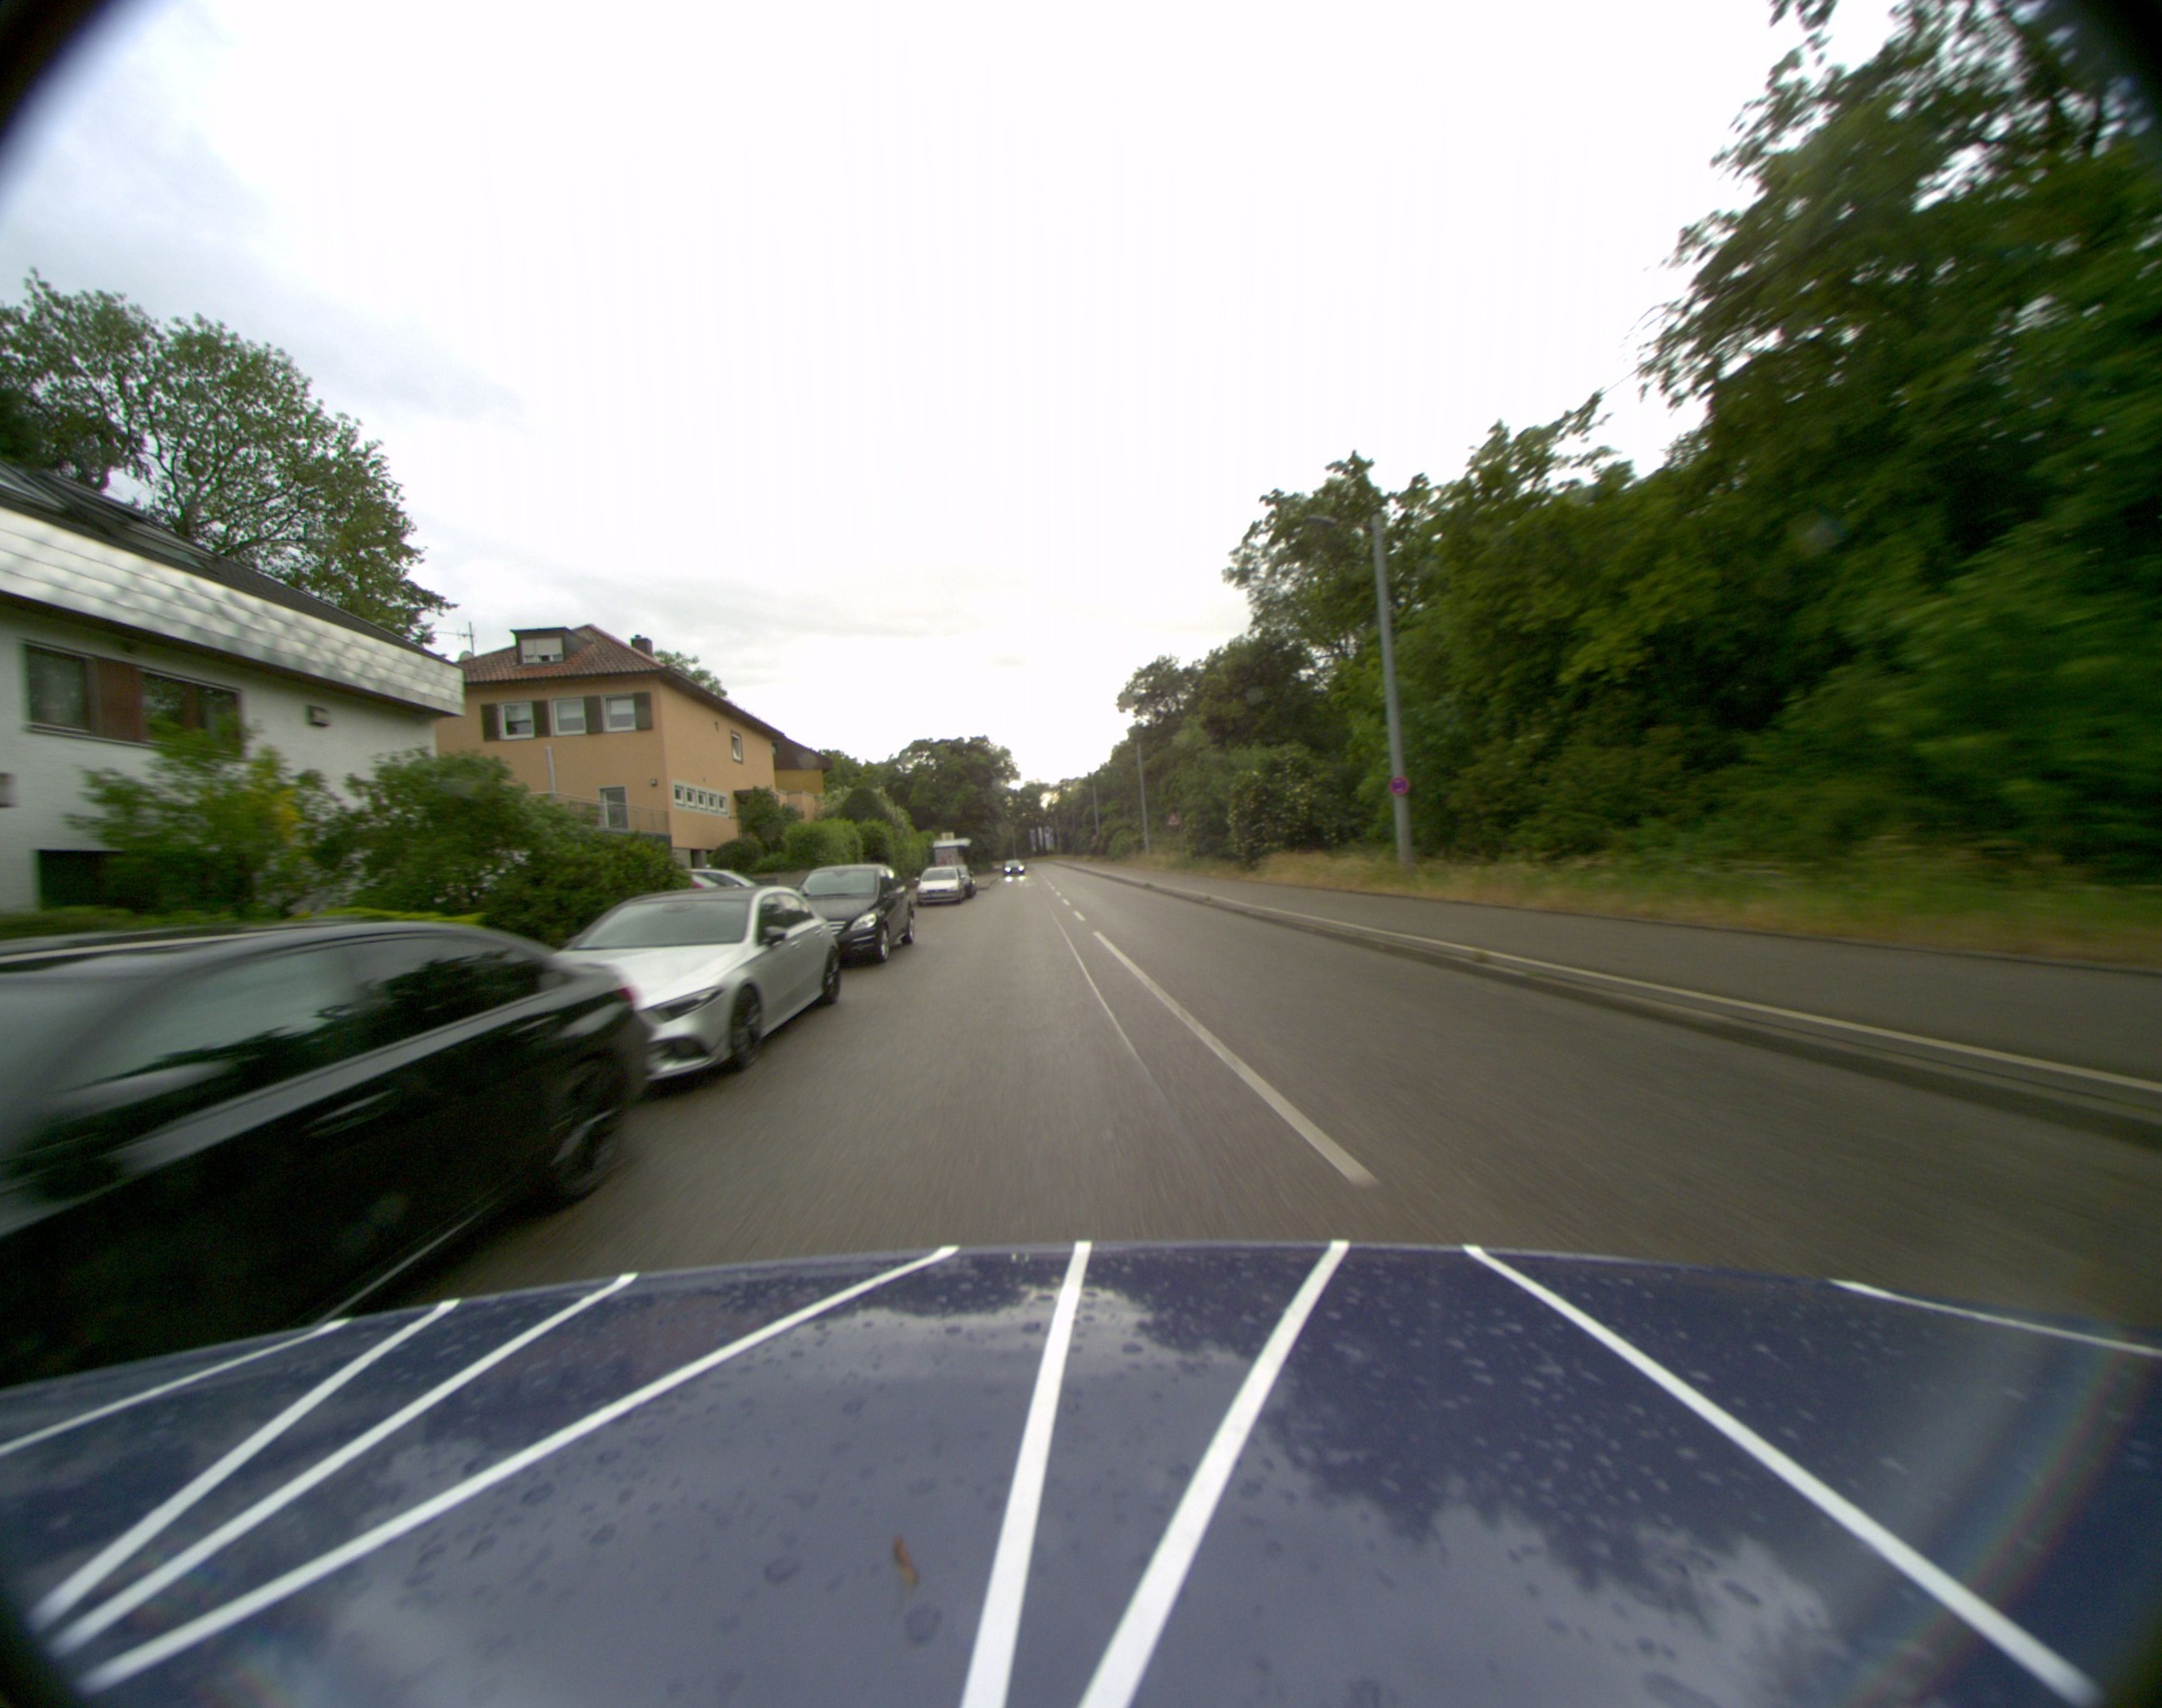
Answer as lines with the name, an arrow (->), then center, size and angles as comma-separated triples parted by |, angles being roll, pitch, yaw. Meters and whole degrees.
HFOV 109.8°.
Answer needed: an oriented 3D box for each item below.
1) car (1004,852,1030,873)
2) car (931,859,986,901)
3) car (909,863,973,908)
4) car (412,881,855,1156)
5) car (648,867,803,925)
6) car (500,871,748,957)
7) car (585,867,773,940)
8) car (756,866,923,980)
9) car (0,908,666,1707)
car -> -5.783, 0.765, 69.017 | 1.999, 1.714, 3.999 | -3, 1, -2
car -> -5.425, 1.114, 34.222 | 1.835, 1.538, 4.628 | -4, 1, -2
car -> -5.378, 1.154, 29.687 | 1.818, 1.390, 4.100 | -4, 1, -3
car -> -3.642, 1.173, 7.337 | 1.798, 1.478, 4.492 | -4, 1, -4
car -> -10.222, 1.192, 22.086 | 3.669, 1.527, 1.827 | -1, 0, -7
car -> -10.058, 1.278, 17.022 | 4.257, 1.452, 1.881 | -4, 2, -4
car -> -9.968, 1.189, 19.100 | 3.668, 1.557, 1.881 | -2, 1, -4
car -> -4.057, 1.056, 13.577 | 1.735, 1.558, 4.520 | -3, 0, -4
car -> -3.198, 1.119, 2.079 | 1.756, 1.435, 4.598 | -4, 1, -4
